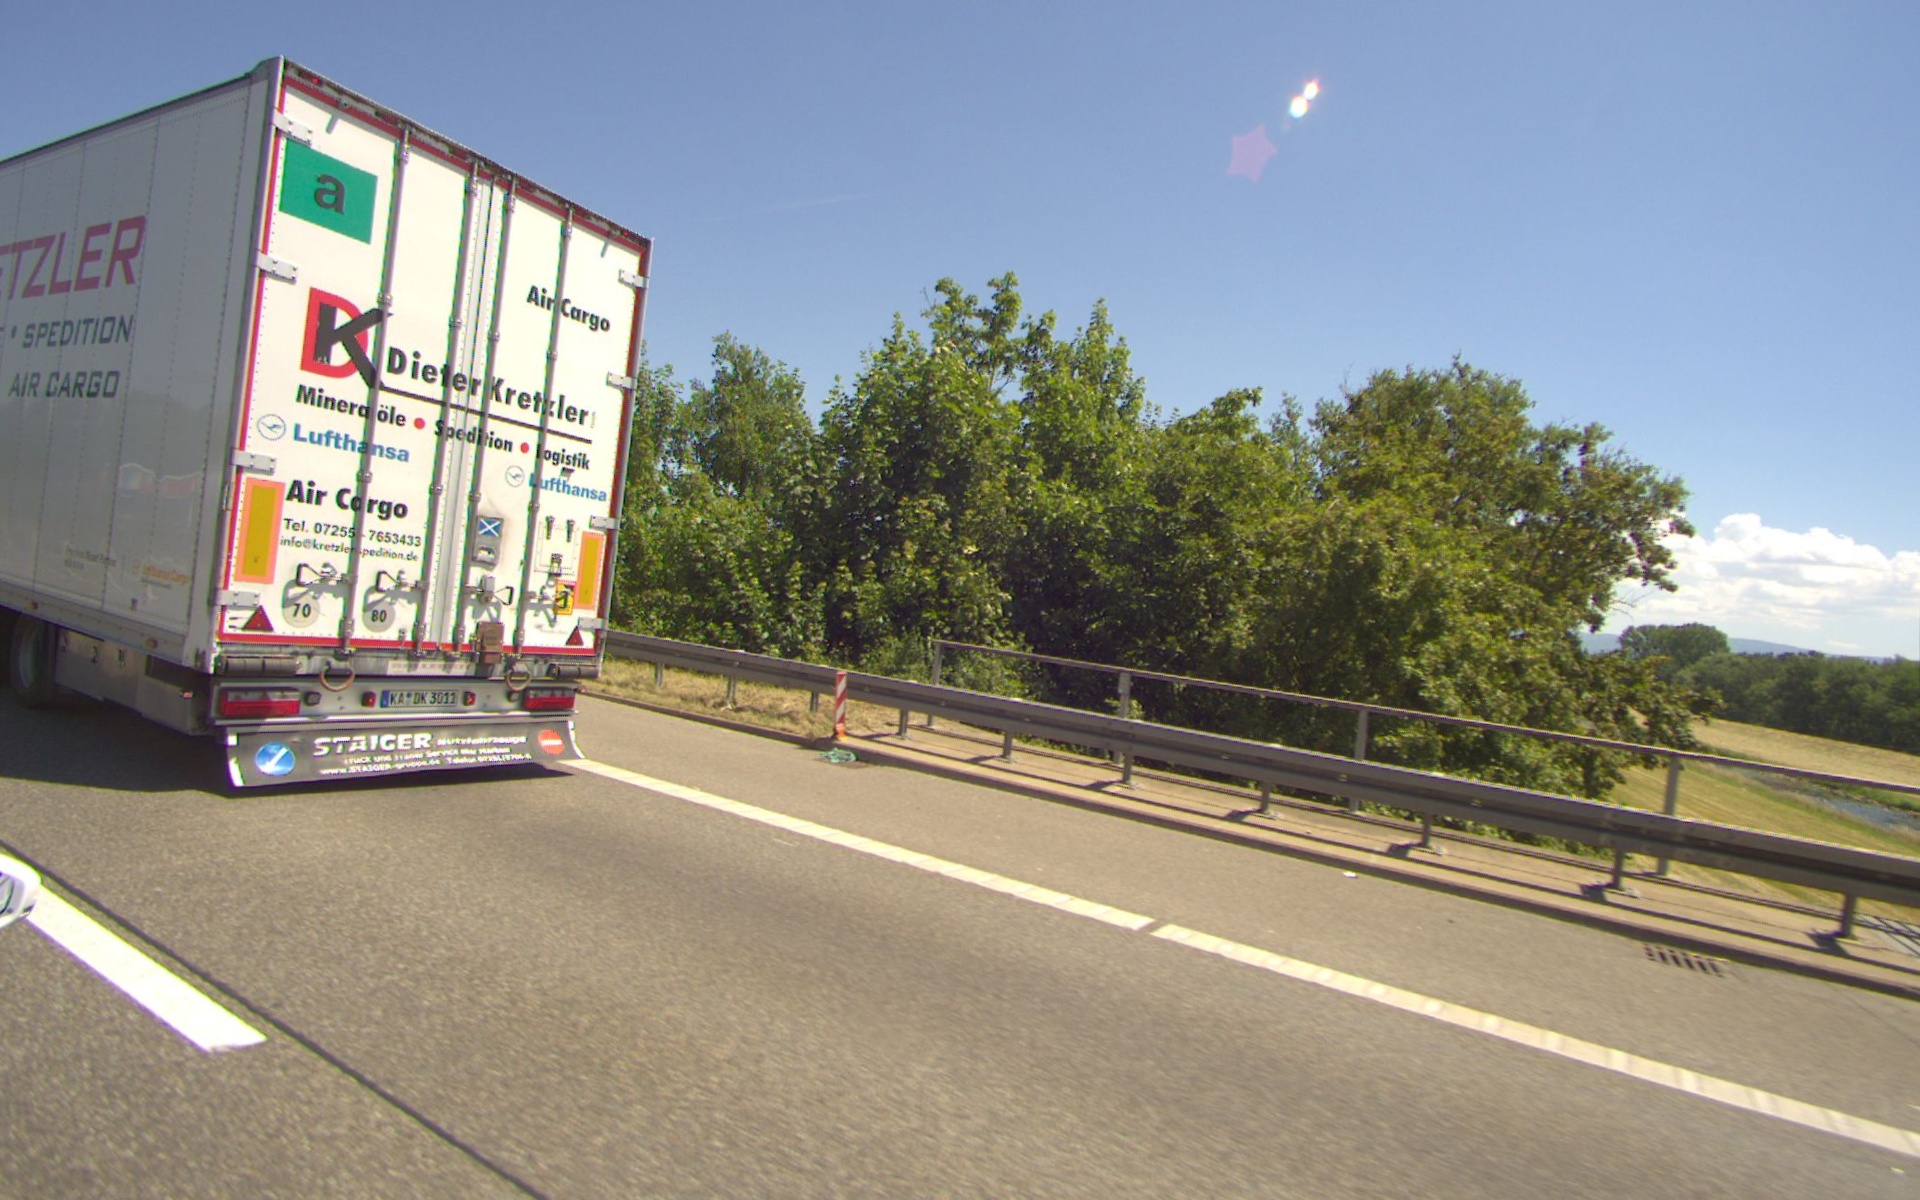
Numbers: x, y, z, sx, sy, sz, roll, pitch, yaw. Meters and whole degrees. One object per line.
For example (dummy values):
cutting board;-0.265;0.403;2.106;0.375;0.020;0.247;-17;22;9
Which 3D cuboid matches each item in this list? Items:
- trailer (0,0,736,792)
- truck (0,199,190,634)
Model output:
trailer;-8.731;-2.040;10.253;13.796;4.895;3.274;7;0;32
truck;-14.178;-2.533;13.699;6.856;4.948;3.239;8;0;32
